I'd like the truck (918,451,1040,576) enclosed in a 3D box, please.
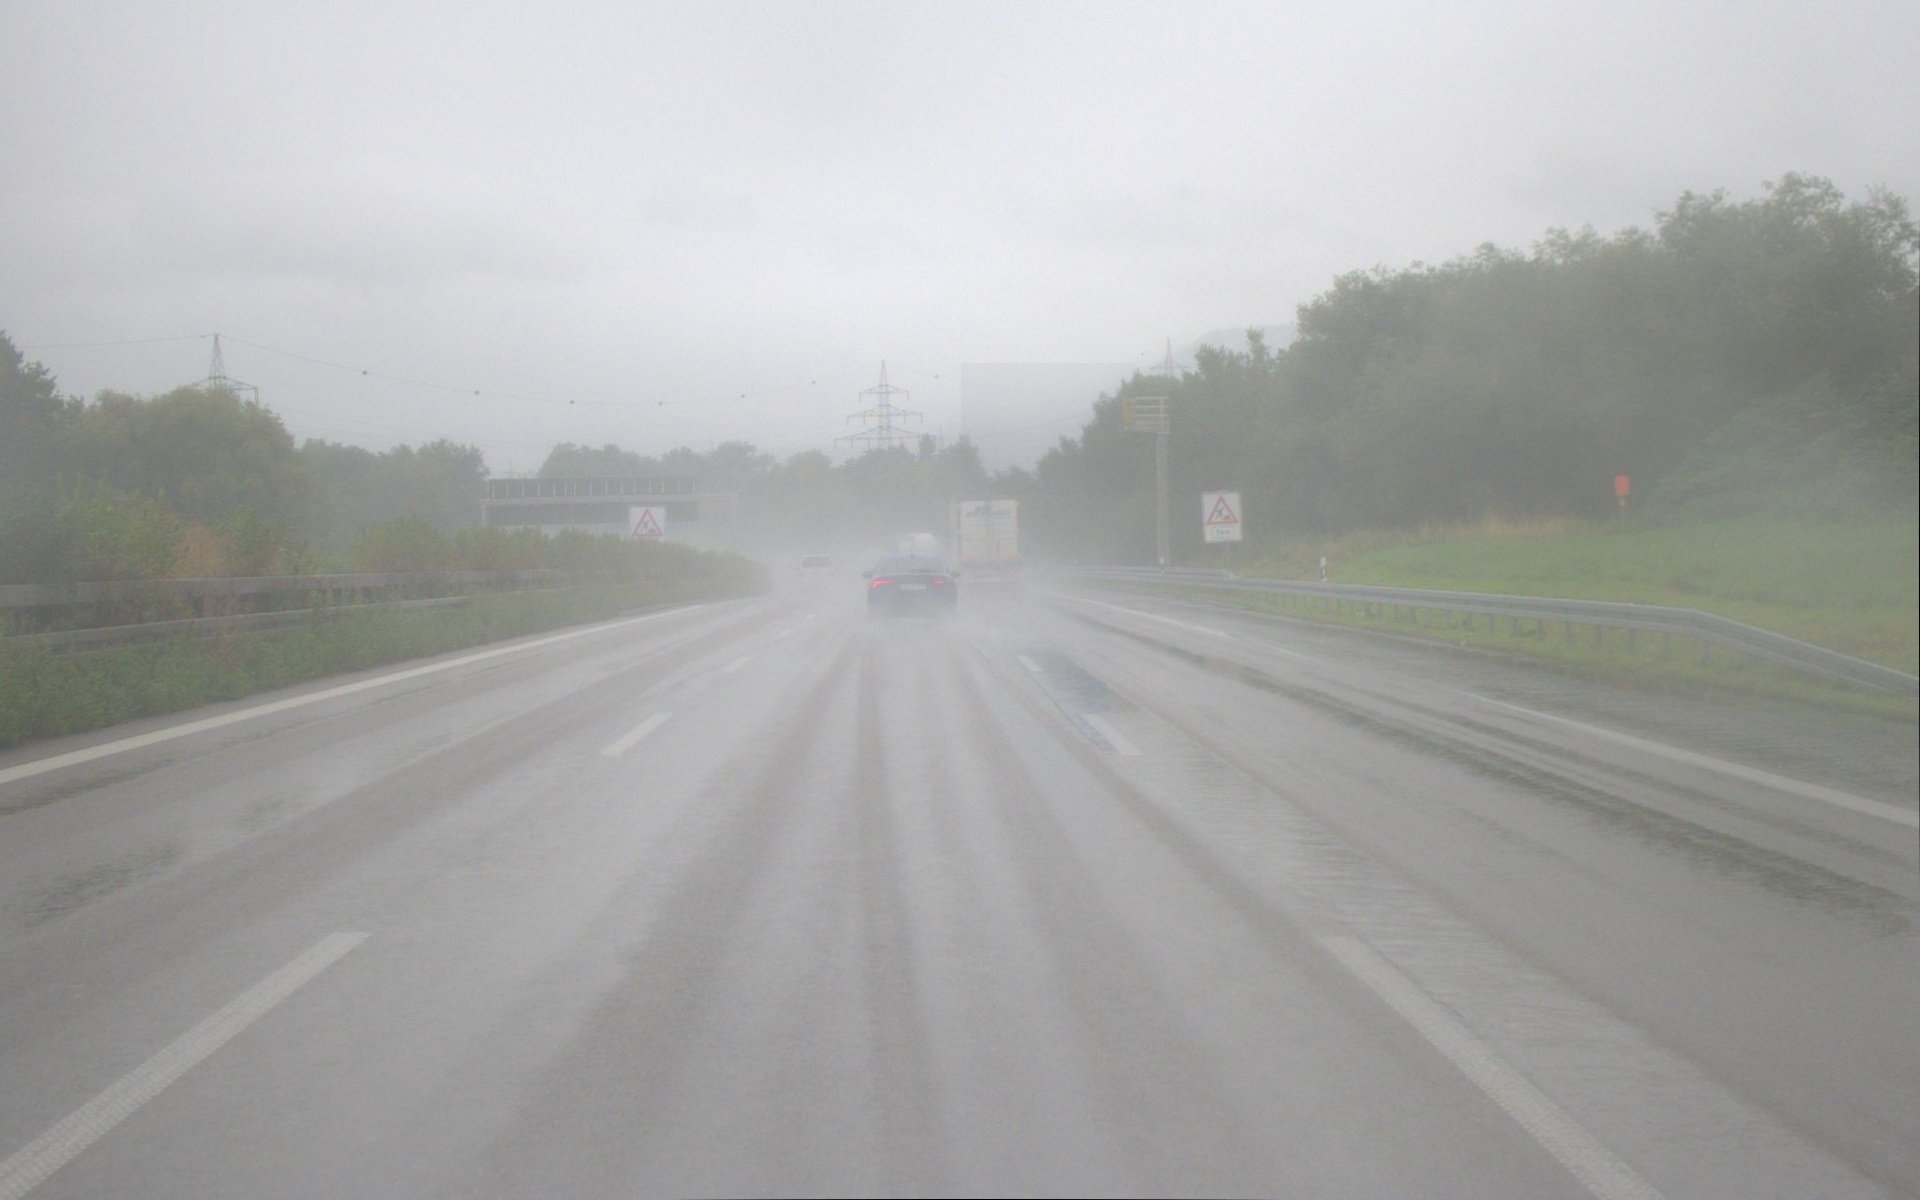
[{"bbox_3d":[0.687,-3.781,151.533,4.256,4.955,17.343,-3,1,-2],"label":"truck"}]

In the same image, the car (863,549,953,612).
[{"bbox_3d":[-1.073,-0.403,68.947,1.748,1.208,4.000,0,1,-2],"label":"car"}]
